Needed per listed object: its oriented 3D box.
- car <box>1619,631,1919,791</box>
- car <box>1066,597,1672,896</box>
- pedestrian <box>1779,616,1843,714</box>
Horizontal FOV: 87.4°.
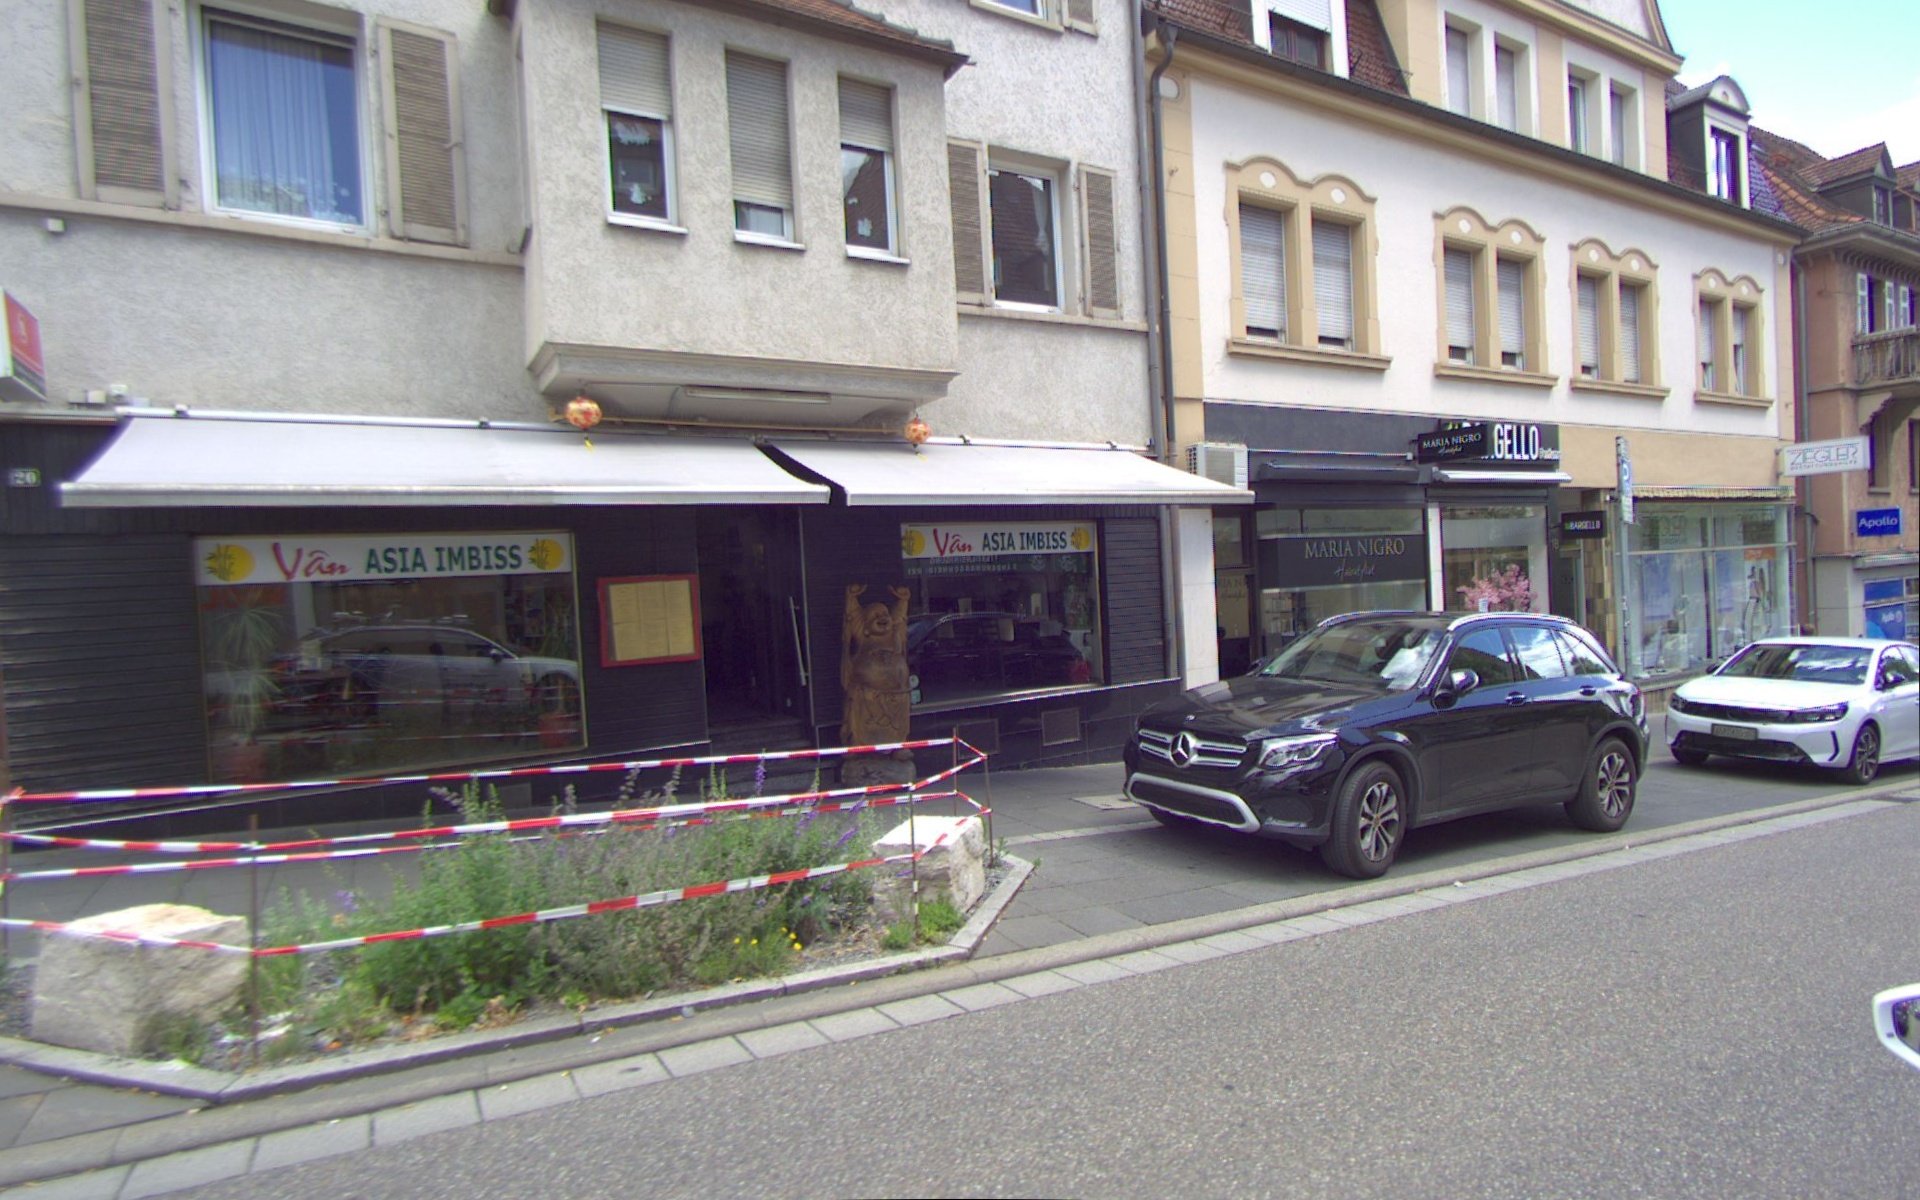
[{"bbox_3d":[9.706,1.121,11.510,4.211,1.449,1.918,1,0,-30],"label":"car"},{"bbox_3d":[3.209,0.845,7.594,4.587,1.643,1.916,1,0,-32],"label":"car"},{"bbox_3d":[14.225,1.070,16.786,0.853,1.596,0.544,0,-2,-31],"label":"pedestrian"}]
